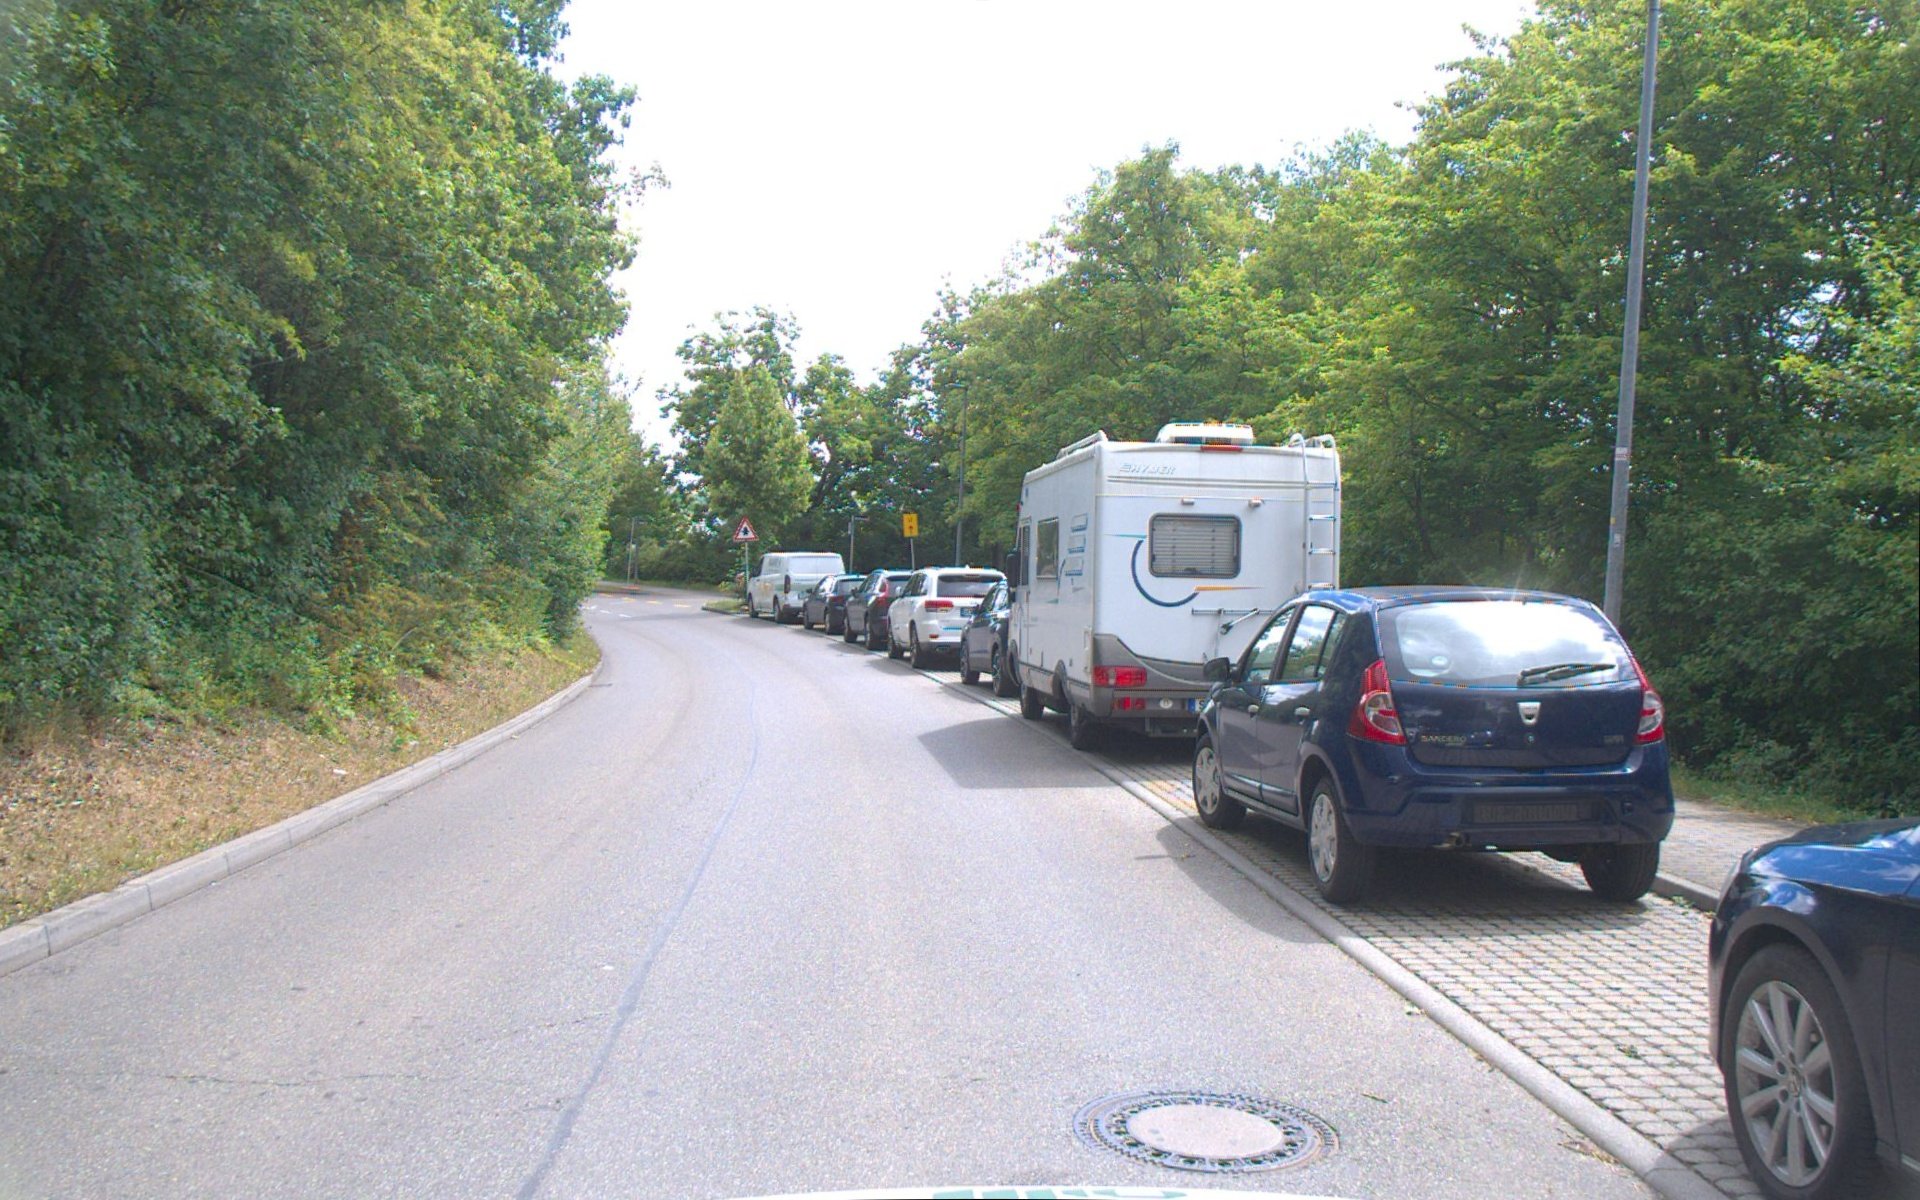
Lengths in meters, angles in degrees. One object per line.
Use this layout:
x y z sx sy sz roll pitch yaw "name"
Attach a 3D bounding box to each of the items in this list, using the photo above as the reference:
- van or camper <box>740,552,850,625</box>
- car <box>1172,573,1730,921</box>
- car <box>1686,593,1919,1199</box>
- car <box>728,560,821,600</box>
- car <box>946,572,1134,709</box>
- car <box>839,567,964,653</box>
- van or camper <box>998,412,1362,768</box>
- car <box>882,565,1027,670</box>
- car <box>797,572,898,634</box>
-4.876 -0.396 48.100 1.964 1.953 5.235 -1 2 -20 "van or camper"
2.470 0.672 9.375 1.695 1.545 3.884 0 -1 -6 "car"
2.914 0.729 2.400 1.740 1.459 4.332 0 0 -1 "car"
-7.454 -0.816 66.341 3.480 1.506 1.774 0 3 -18 "car"
1.028 0.509 23.361 1.680 1.619 3.990 6 0 -10 "car"
-1.357 0.154 36.162 1.959 1.654 4.265 -2 2 -13 "car"
1.932 -0.107 16.940 2.287 2.919 6.143 2 0 -6 "van or camper"
-0.195 0.254 30.222 1.838 1.718 4.568 2 1 -10 "car"
-2.948 0.041 42.656 1.769 1.489 3.982 1 1 -17 "car"
